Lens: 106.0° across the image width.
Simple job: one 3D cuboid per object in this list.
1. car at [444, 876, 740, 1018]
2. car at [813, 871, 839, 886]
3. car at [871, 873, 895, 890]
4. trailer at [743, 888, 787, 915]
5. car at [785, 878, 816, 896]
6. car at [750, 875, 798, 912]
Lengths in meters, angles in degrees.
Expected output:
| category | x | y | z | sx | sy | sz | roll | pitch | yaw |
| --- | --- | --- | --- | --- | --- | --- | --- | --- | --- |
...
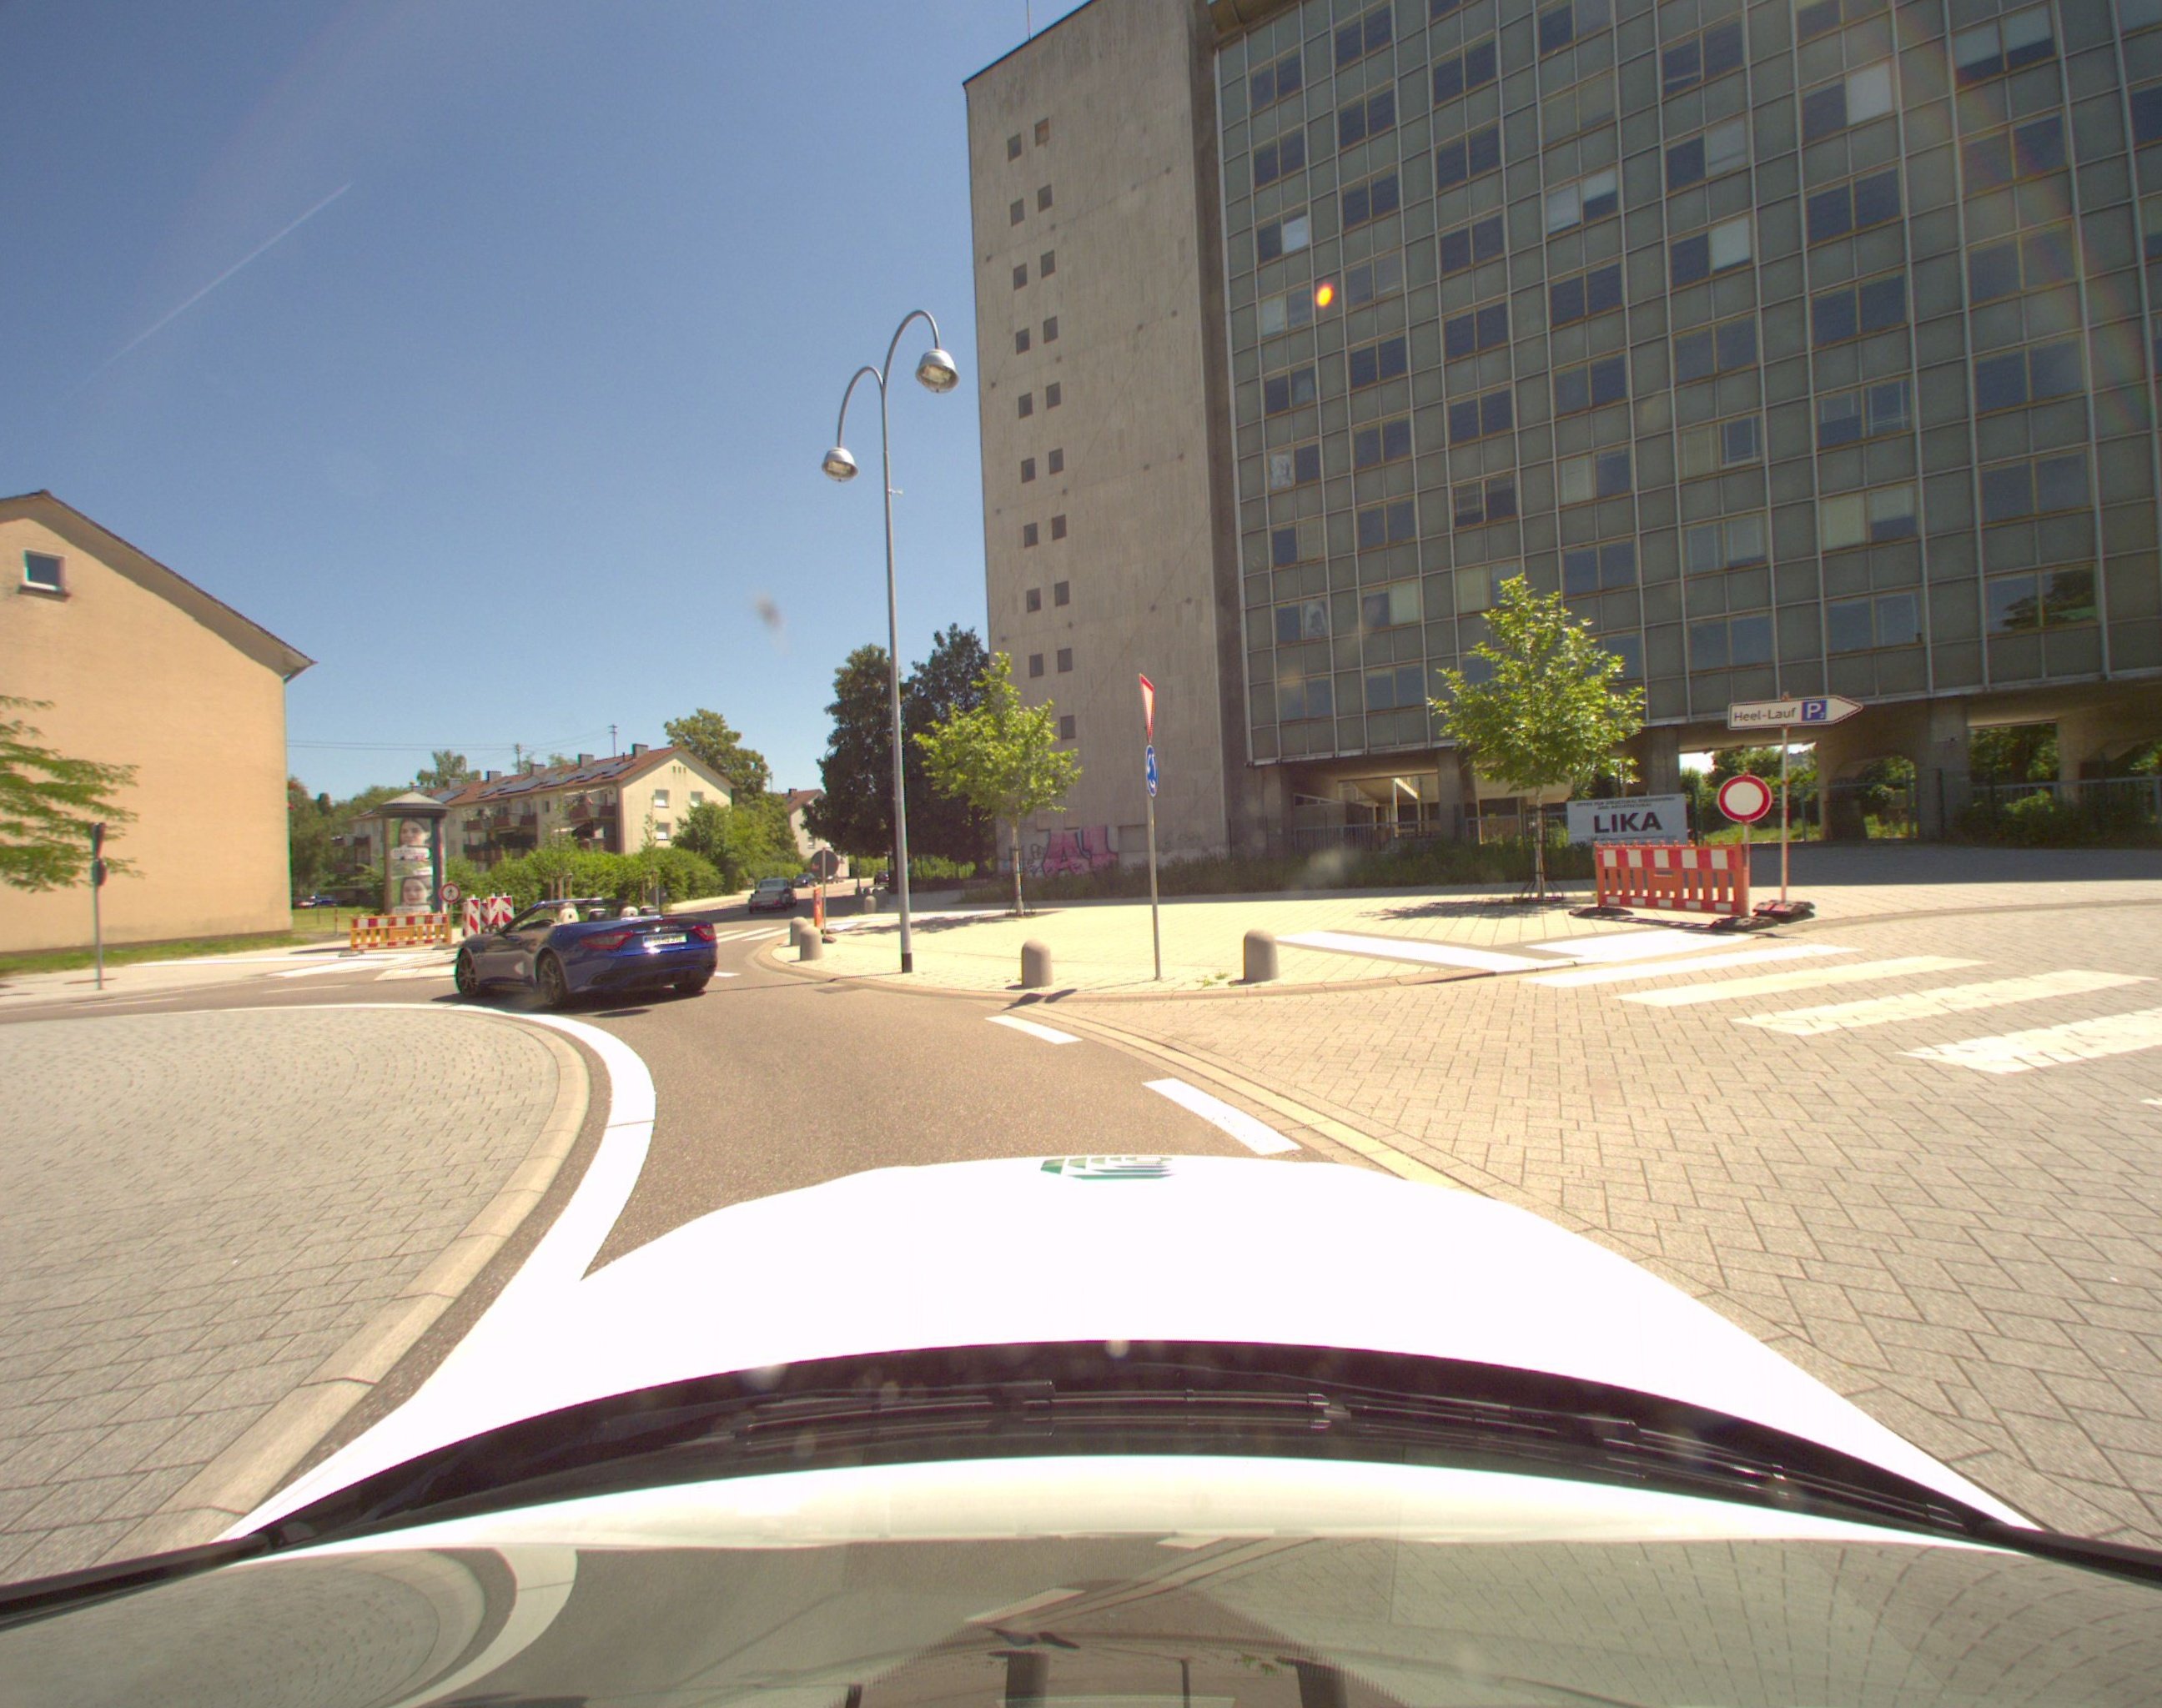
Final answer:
| category | x | y | z | sx | sy | sz | roll | pitch | yaw |
| --- | --- | --- | --- | --- | --- | --- | --- | --- | --- |
| car | -6.833 | 1.227 | 11.198 | 4.448 | 1.530 | 1.889 | -5 | -3 | 36 |
| car | -28.154 | 2.729 | 90.150 | 1.735 | 1.436 | 3.707 | -4 | 0 | -3 |
| car | -20.524 | 2.842 | 84.561 | 1.735 | 1.436 | 3.706 | -4 | 0 | -3 |
| trailer | -13.014 | 1.942 | 33.642 | 1.452 | 0.872 | 2.528 | -3 | 0 | -18 |
| car | -26.951 | 3.199 | 78.387 | 1.735 | 1.436 | 3.707 | -4 | 0 | -3 |
| car | -14.116 | 1.785 | 37.578 | 1.743 | 1.436 | 3.688 | -4 | 0 | -17 |
